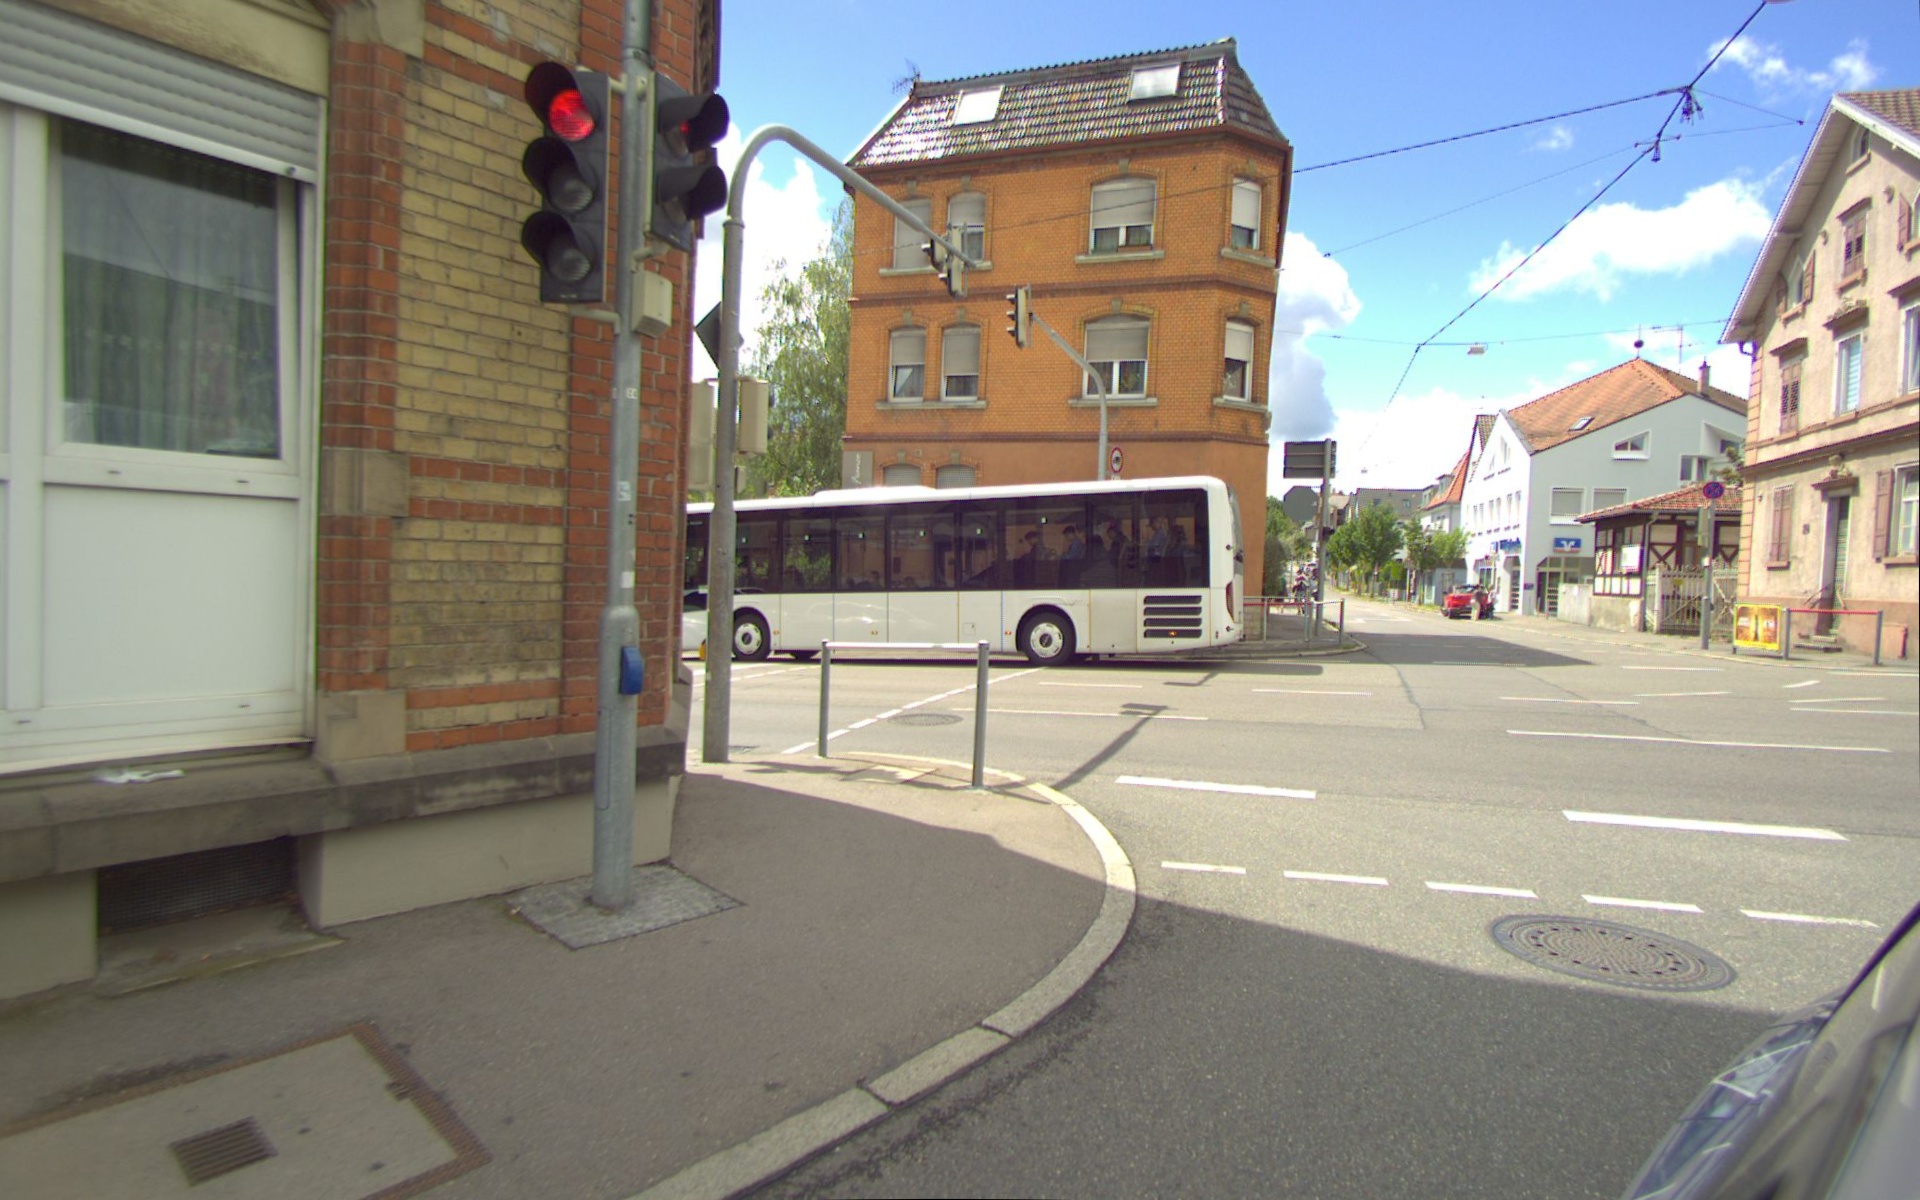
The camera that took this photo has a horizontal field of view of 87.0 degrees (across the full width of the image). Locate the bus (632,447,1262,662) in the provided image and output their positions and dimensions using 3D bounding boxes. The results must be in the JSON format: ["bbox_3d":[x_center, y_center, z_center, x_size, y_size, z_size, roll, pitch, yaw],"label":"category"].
[{"bbox_3d":[-0.576,-0.659,19.949,12.281,3.431,2.947,-1,0,23],"label":"bus"}]

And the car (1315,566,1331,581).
[{"bbox_3d":[51.886,-3.711,144.541,1.976,2.039,3.971,-1,0,22],"label":"car"}]

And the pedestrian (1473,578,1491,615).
[{"bbox_3d":[22.649,-0.155,43.869,0.564,1.616,0.754,-1,0,36],"label":"pedestrian"}]

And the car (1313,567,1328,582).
[{"bbox_3d":[53.674,-3.764,150.670,1.976,2.039,3.971,-1,0,22],"label":"car"}]

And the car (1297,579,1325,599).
[{"bbox_3d":[30.577,-0.919,88.254,1.972,1.683,3.980,-1,0,16],"label":"car"}]

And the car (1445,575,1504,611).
[{"bbox_3d":[23.418,-0.319,46.170,1.976,1.560,3.971,-1,0,22],"label":"car"}]

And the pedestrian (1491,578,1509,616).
[{"bbox_3d":[23.235,-0.144,43.557,0.607,1.616,0.716,-1,0,31],"label":"pedestrian"}]

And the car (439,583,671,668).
[{"bbox_3d":[-7.737,0.439,19.401,3.921,1.495,1.844,0,-1,20],"label":"car"}]
